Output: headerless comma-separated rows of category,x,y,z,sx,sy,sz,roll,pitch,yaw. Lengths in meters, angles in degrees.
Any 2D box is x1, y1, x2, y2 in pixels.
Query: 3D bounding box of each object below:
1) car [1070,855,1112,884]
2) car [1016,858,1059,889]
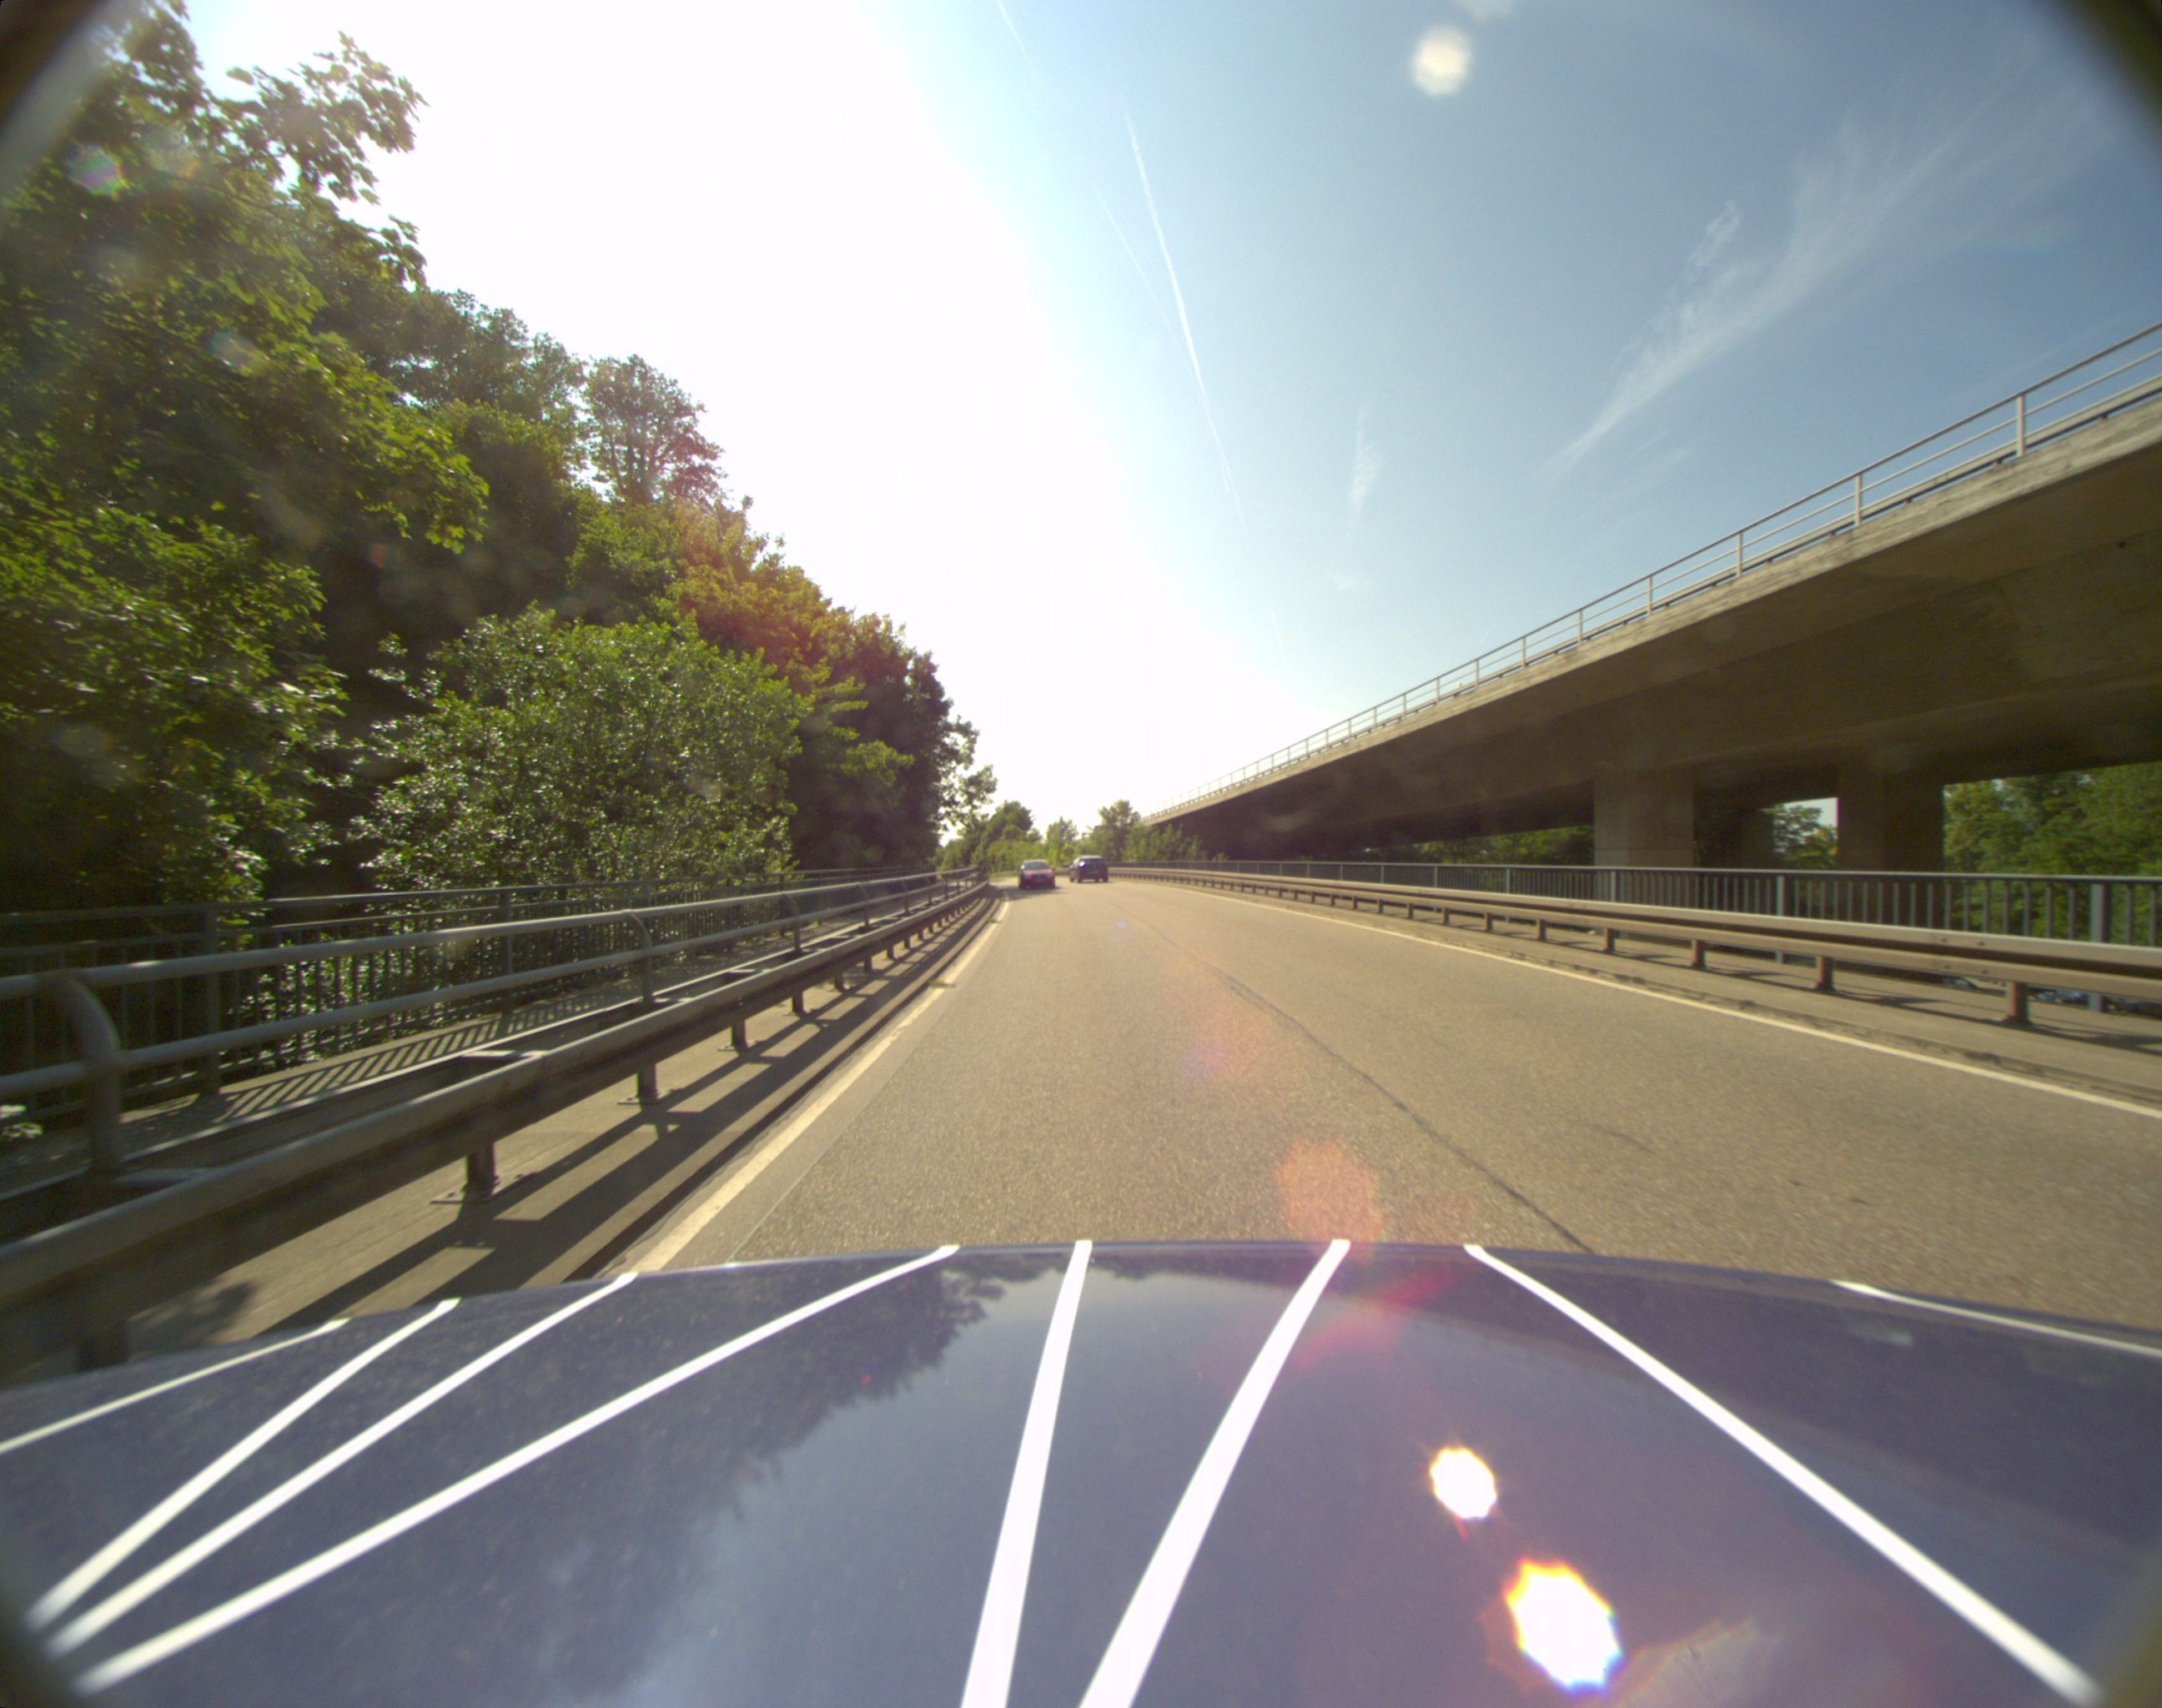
car,0.551,0.919,46.416,1.904,1.571,4.552,-3,0,-8
car,-2.368,1.011,40.216,1.818,1.487,4.283,-1,-1,-9
